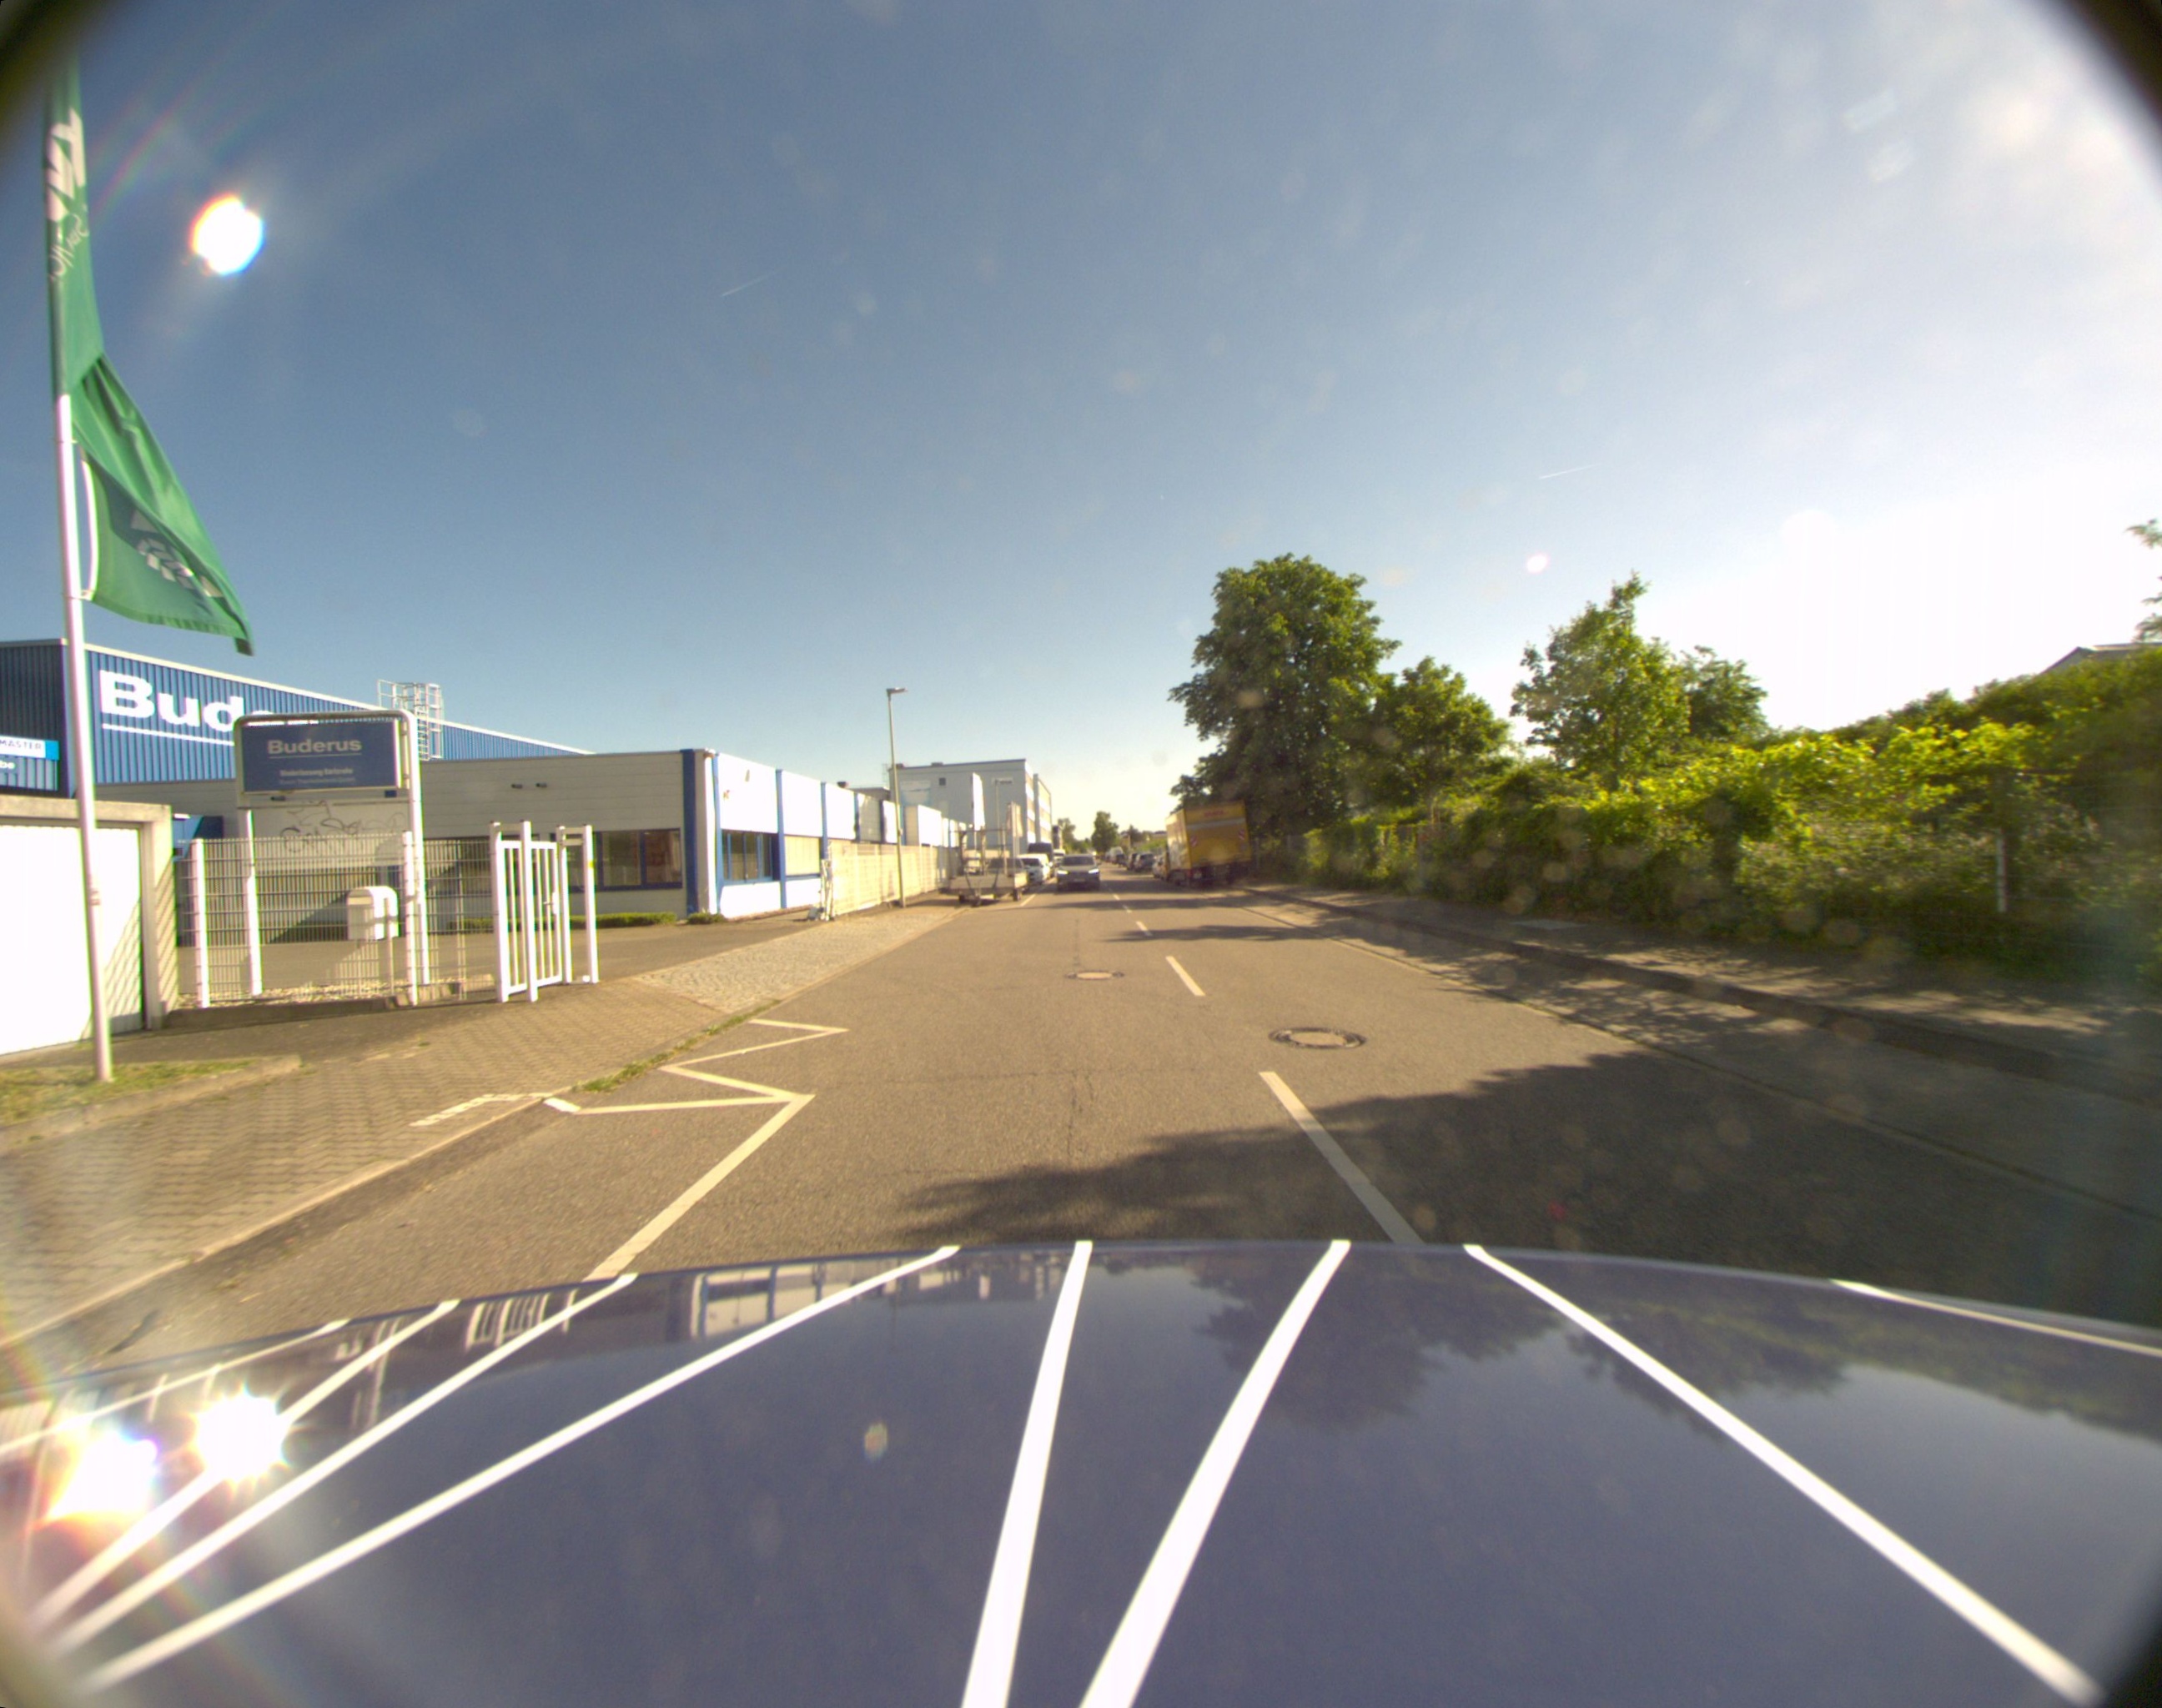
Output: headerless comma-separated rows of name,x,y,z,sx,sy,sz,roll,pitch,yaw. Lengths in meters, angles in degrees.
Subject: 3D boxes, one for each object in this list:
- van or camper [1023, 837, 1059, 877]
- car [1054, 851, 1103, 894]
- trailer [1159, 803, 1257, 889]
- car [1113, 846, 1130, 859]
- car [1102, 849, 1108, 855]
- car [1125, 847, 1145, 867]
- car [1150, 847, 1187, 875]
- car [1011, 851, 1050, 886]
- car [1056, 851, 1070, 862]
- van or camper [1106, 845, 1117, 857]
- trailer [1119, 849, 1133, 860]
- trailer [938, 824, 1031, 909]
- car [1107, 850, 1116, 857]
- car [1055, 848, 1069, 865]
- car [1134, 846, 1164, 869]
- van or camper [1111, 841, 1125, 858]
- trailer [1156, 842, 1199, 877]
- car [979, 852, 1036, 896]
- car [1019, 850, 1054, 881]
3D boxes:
van or camper,-2.923,0.175,57.331,2.146,2.743,6.160,-4,1,1
car,-0.107,0.759,34.372,1.998,1.750,5.015,-2,0,0
trailer,5.689,-0.373,35.503,2.999,3.423,8.159,-2,1,-1
car,6.110,-0.248,114.974,2.035,1.684,5.106,-6,0,-1
car,7.865,-0.628,249.076,1.779,1.838,4.616,-4,0,4
car,5.315,0.279,75.012,1.796,1.721,4.802,-3,1,4
car,5.880,0.454,51.510,1.912,1.584,5.025,-6,0,1
car,-2.987,0.816,46.107,1.860,1.820,5.167,-4,1,1
car,-2.536,0.300,108.124,1.899,1.397,5.123,-4,1,0
van or camper,7.059,-0.651,177.008,2.076,2.534,6.403,-6,0,1
trailer,5.500,0.044,93.755,1.480,1.346,3.078,-4,1,1
trailer,-3.289,0.379,27.310,2.466,2.657,5.701,-2,1,0
car,6.592,-0.127,166.187,1.804,1.501,5.002,-6,0,1
car,-2.976,0.377,120.176,1.999,2.582,6.051,0,-1,-1
car,5.760,0.278,64.881,1.913,1.653,4.462,-6,0,-2
van or camper,6.160,-0.737,127.822,1.971,2.669,5.948,-7,0,2
trailer,5.743,0.273,45.581,1.998,1.930,4.414,-2,1,1
car,-3.234,0.824,34.371,1.999,1.658,4.730,-4,1,1
car,-2.925,0.736,51.348,1.890,1.836,5.103,-4,1,1
